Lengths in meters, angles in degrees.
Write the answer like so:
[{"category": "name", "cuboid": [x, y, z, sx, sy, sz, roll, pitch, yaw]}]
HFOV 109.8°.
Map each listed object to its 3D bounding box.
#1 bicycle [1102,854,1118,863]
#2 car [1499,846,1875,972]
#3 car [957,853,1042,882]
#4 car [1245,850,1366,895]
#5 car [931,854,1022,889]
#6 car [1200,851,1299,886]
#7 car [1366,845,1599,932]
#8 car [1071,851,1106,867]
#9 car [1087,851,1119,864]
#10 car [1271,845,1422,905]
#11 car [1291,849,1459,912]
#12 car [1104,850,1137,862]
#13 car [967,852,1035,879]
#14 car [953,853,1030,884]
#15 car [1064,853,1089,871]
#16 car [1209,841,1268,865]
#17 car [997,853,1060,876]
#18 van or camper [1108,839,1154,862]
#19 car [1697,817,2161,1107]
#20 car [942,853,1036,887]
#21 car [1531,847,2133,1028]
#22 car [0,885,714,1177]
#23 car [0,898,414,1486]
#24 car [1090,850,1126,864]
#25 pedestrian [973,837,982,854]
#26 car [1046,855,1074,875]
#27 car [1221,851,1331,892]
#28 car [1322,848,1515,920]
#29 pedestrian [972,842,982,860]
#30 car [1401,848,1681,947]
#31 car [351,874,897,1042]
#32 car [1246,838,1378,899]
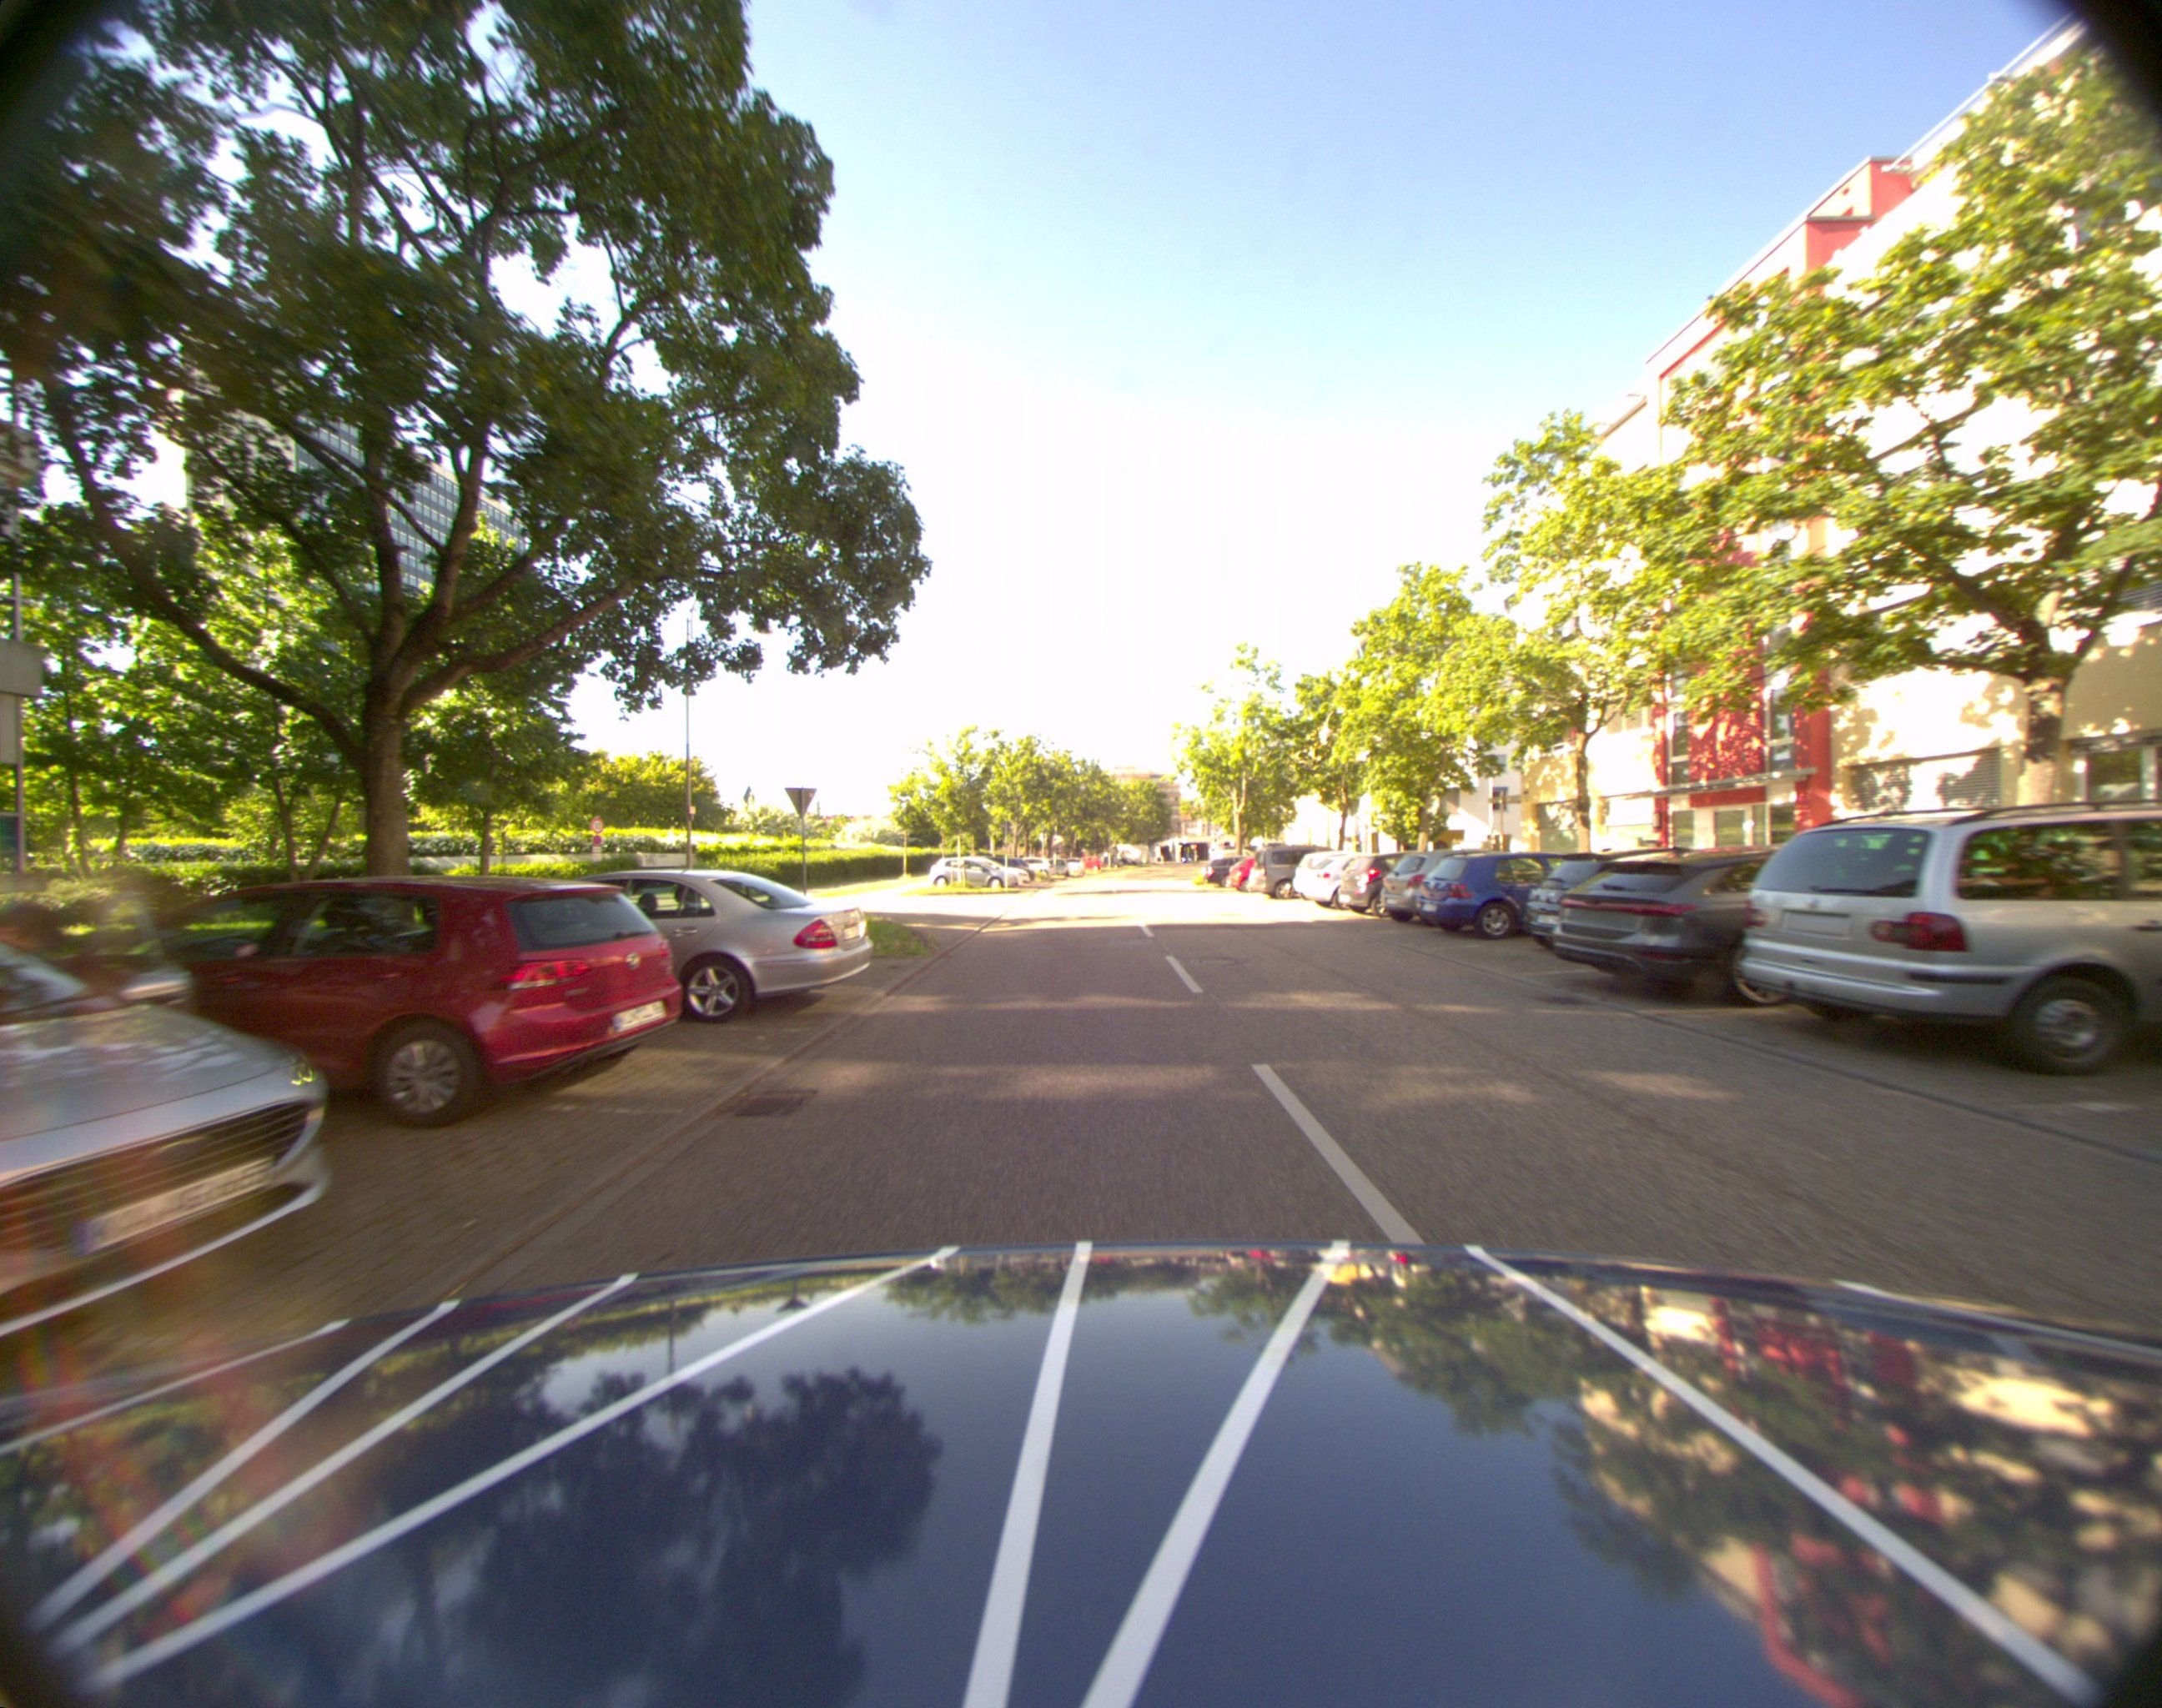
[{"category": "bicycle", "cuboid": [3.248, 0.494, 85.871, 1.752, 0.985, 0.531, 1, 1, 25]}, {"category": "car", "cuboid": [8.134, 0.694, 10.469, 3.735, 1.419, 1.772, -3, 0, 0]}, {"category": "car", "cuboid": [-4.613, 0.757, 43.455, 4.560, 1.506, 2.158, 1, 1, 1]}, {"category": "car", "cuboid": [8.163, 0.662, 27.900, 3.901, 1.415, 1.739, -3, 0, 1]}, {"category": "car", "cuboid": [-4.862, 0.795, 35.731, 3.957, 1.506, 1.701, 1, 1, 2]}, {"category": "car", "cuboid": [7.771, 0.656, 35.314, 4.272, 1.415, 1.740, -3, 0, 4]}, {"category": "car", "cuboid": [8.069, 0.659, 15.532, 3.735, 1.500, 1.859, -3, 0, 0]}, {"category": "car", "cuboid": [0.819, 0.517, 83.337, 3.438, 1.535, 1.629, 2, 1, 14]}, {"category": "car", "cuboid": [2.739, 0.426, 92.699, 3.465, 1.471, 1.861, 2, 1, 17]}, {"category": "car", "cuboid": [8.017, 0.607, 23.215, 3.901, 1.565, 1.859, -3, 0, 1]}, {"category": "car", "cuboid": [7.838, 0.667, 20.483, 3.736, 1.438, 1.875, -3, 0, -3]}, {"category": "car", "cuboid": [5.319, 0.259, 102.902, 4.155, 1.537, 1.860, 2, 1, 11]}, {"category": "car", "cuboid": [-4.821, 0.671, 46.190, 3.814, 1.440, 1.745, 3, 1, 3]}, {"category": "car", "cuboid": [-4.774, 0.777, 40.906, 3.885, 1.506, 1.750, 1, 1, 1]}, {"category": "car", "cuboid": [-0.388, 0.723, 68.957, 1.646, 1.485, 3.768, 2, 1, 8]}, {"category": "car", "cuboid": [14.025, -0.058, 67.645, 4.776, 1.973, 1.997, -2, 0, -22]}, {"category": "car", "cuboid": [-3.684, 0.732, 53.766, 4.096, 1.421, 1.643, 3, 1, 8]}, {"category": "van or camper", "cuboid": [6.911, -0.493, 105.480, 5.990, 2.967, 2.673, 2, 1, 12]}, {"category": "car", "cuboid": [7.521, 0.622, 5.519, 4.330, 1.707, 1.963, -3, 0, 6]}, {"category": "car", "cuboid": [-4.600, 0.793, 38.338, 4.563, 1.506, 1.981, 1, 1, -5]}, {"category": "car", "cuboid": [7.339, 0.748, 7.755, 4.414, 1.419, 1.772, -3, 0, -1]}, {"category": "car", "cuboid": [-4.897, 0.999, 5.193, 3.846, 1.438, 1.922, 1, 1, 4]}, {"category": "car", "cuboid": [-5.236, 0.968, 2.517, 4.524, 1.533, 1.922, 1, 1, 4]}, {"category": "car", "cuboid": [3.419, 0.382, 95.336, 4.199, 1.537, 1.861, 2, 1, 14]}, {"category": "pedestrian", "cuboid": [-9.854, -0.791, 72.305, 0.725, 1.579, 0.853, -1, 1, 3]}, {"category": "car", "cuboid": [-1.628, 0.857, 61.715, 1.813, 1.485, 4.625, 2, 1, 4]}, {"category": "car", "cuboid": [7.752, 0.682, 30.470, 3.901, 1.415, 1.739, -3, 0, 1]}, {"category": "car", "cuboid": [7.980, 0.678, 18.181, 3.736, 1.438, 1.859, -3, 0, -3]}, {"category": "pedestrian", "cuboid": [-8.864, -0.270, 64.993, 0.608, 1.533, 0.937, 0, 1, 7]}, {"category": "car", "cuboid": [7.860, 0.704, 13.257, 3.735, 1.419, 1.840, -3, 0, 0]}, {"category": "car", "cuboid": [-4.429, 0.985, 7.881, 4.589, 1.467, 1.747, -1, 0, 0]}, {"category": "car", "cuboid": [7.743, 0.484, 25.732, 3.901, 1.801, 1.786, -3, 0, 1]}]
